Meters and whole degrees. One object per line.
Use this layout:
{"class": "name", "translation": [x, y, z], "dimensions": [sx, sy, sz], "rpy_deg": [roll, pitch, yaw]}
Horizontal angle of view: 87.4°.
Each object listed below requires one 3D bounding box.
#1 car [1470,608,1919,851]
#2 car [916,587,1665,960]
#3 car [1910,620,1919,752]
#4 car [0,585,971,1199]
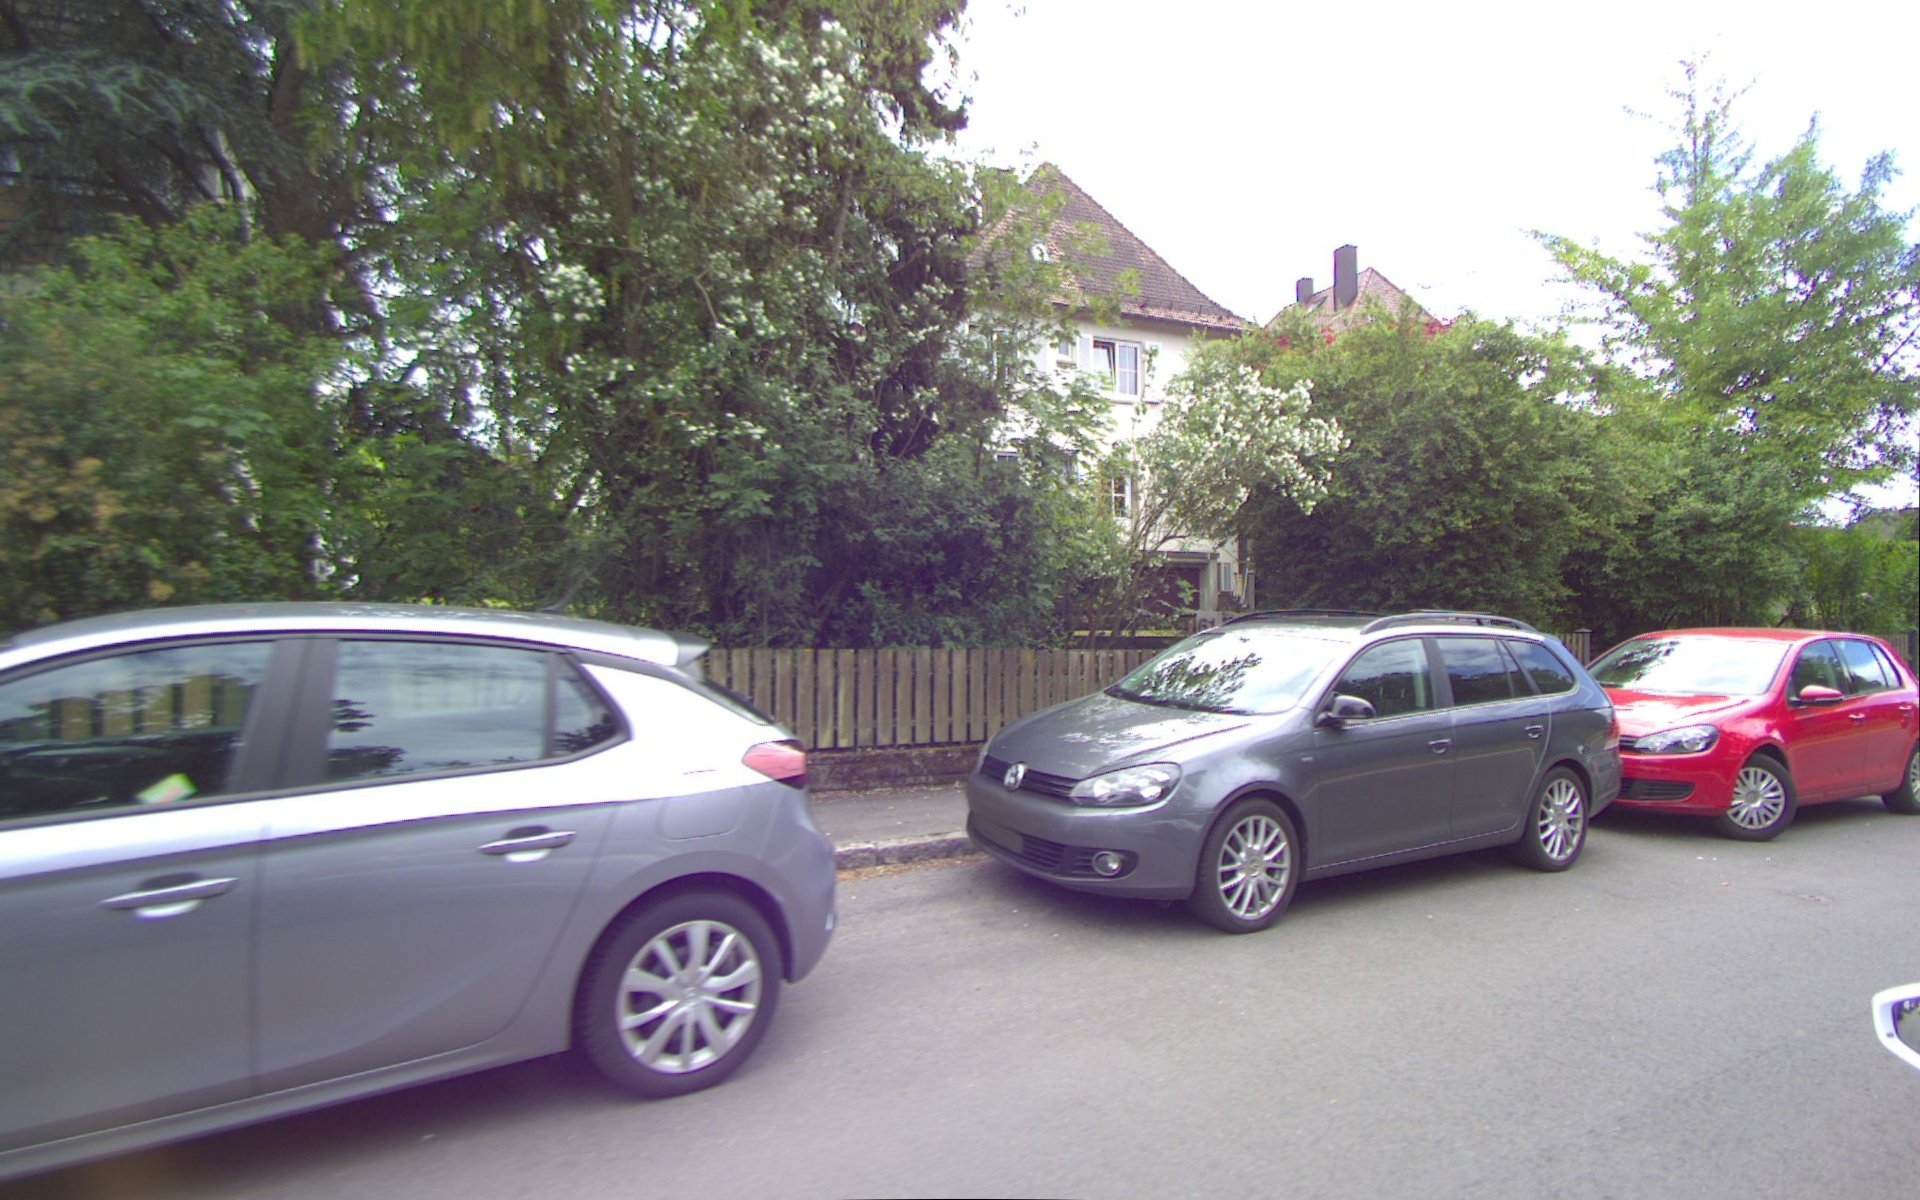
{"class": "car", "translation": [6.338, 0.889, 8.204], "dimensions": [4.308, 1.534, 1.700], "rpy_deg": [2, 0, -28]}
{"class": "car", "translation": [2.105, 0.761, 5.982], "dimensions": [4.442, 1.534, 1.699], "rpy_deg": [2, 0, -30]}
{"class": "car", "translation": [13.106, 1.053, 11.950], "dimensions": [3.598, 1.534, 1.537], "rpy_deg": [2, 0, -28]}
{"class": "car", "translation": [-2.159, 0.689, 3.002], "dimensions": [4.114, 1.429, 1.698], "rpy_deg": [2, 0, -32]}
